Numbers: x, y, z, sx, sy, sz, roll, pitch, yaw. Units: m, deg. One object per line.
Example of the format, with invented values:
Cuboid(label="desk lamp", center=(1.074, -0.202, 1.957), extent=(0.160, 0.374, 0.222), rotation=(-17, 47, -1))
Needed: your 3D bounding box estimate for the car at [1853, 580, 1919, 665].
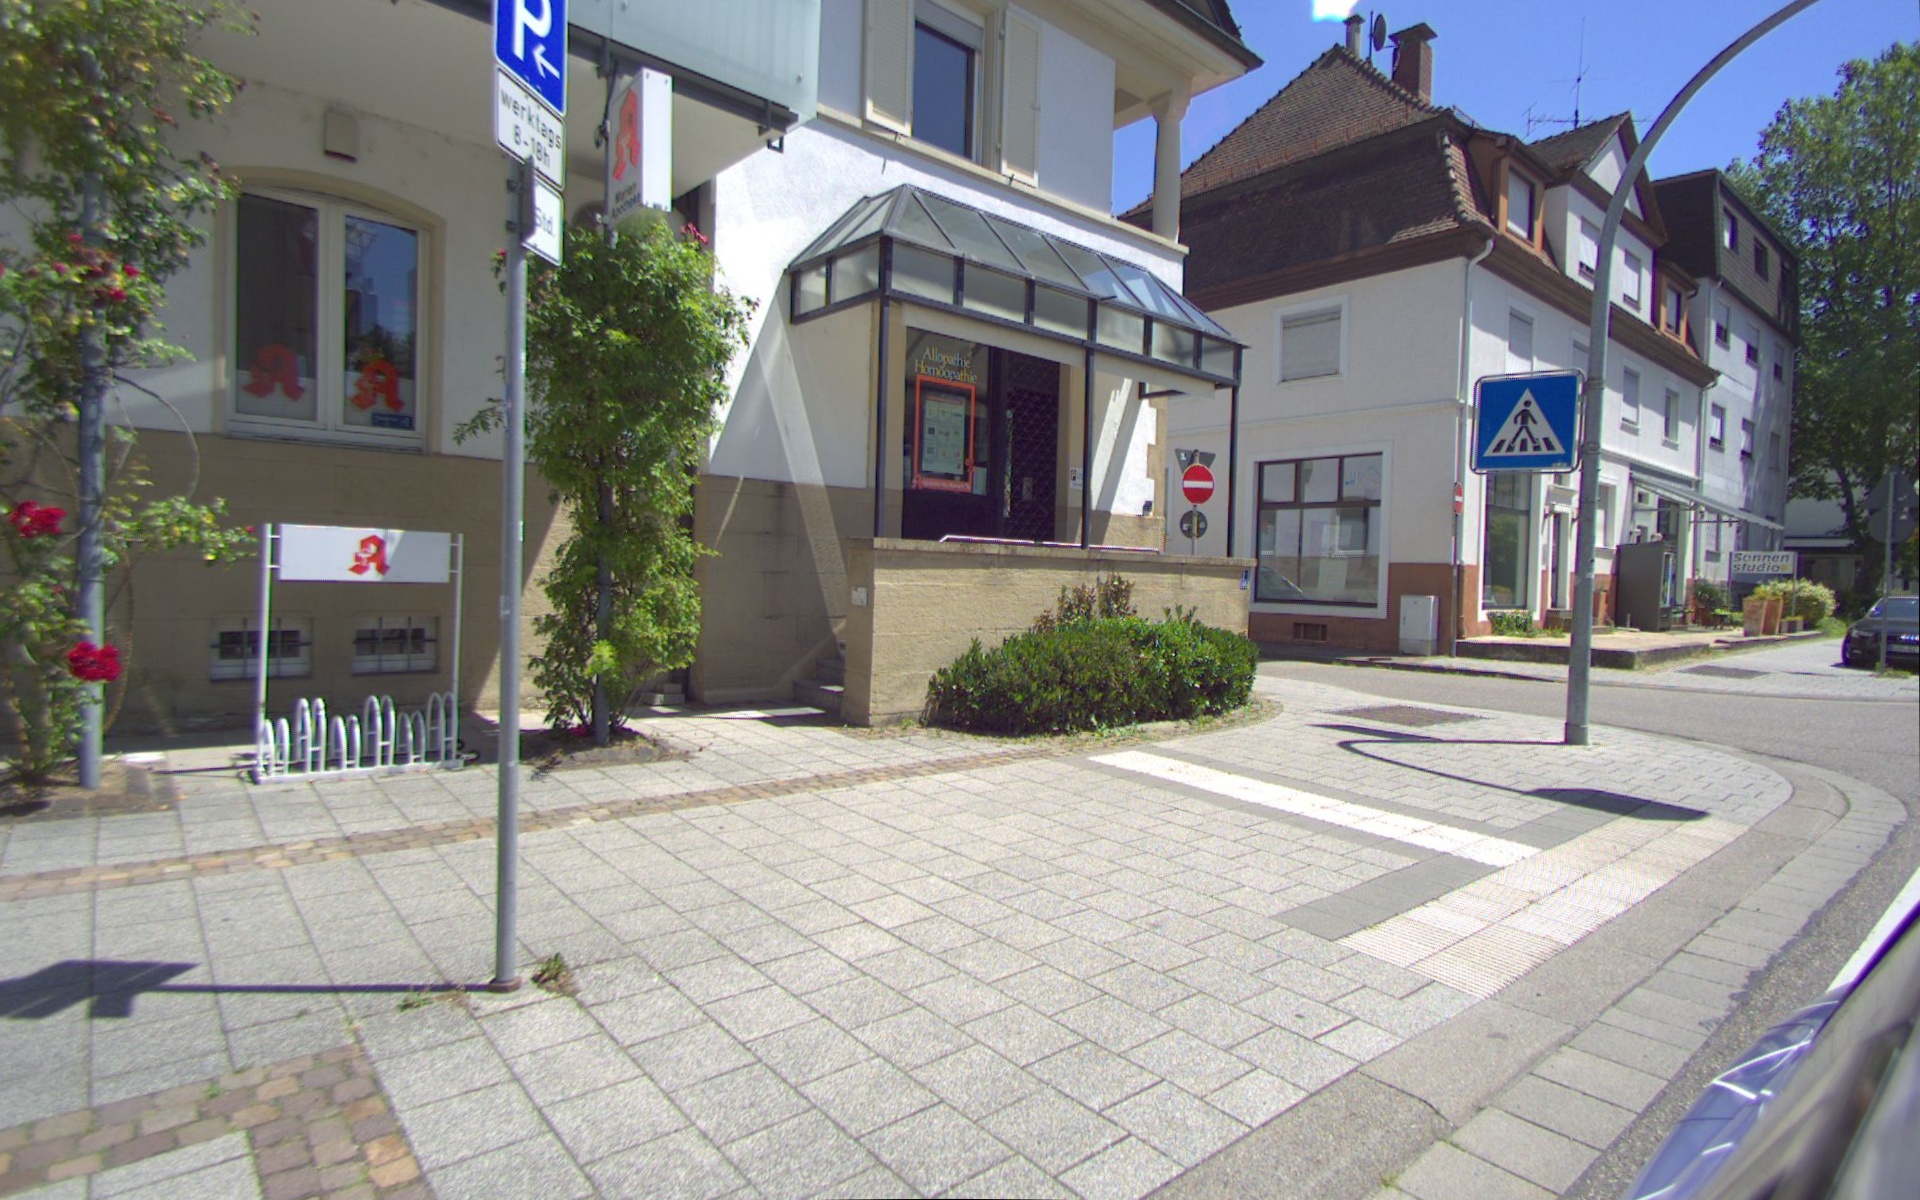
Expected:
Cuboid(label="car", center=(18.569, 0.379, 19.140), extent=(4.618, 1.444, 1.831), rotation=(-1, 4, -41))

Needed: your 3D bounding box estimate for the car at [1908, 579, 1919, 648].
Cuboid(label="car", center=(23.197, 0.317, 23.067), extent=(4.767, 1.486, 1.748), rotation=(-1, 5, -41))
